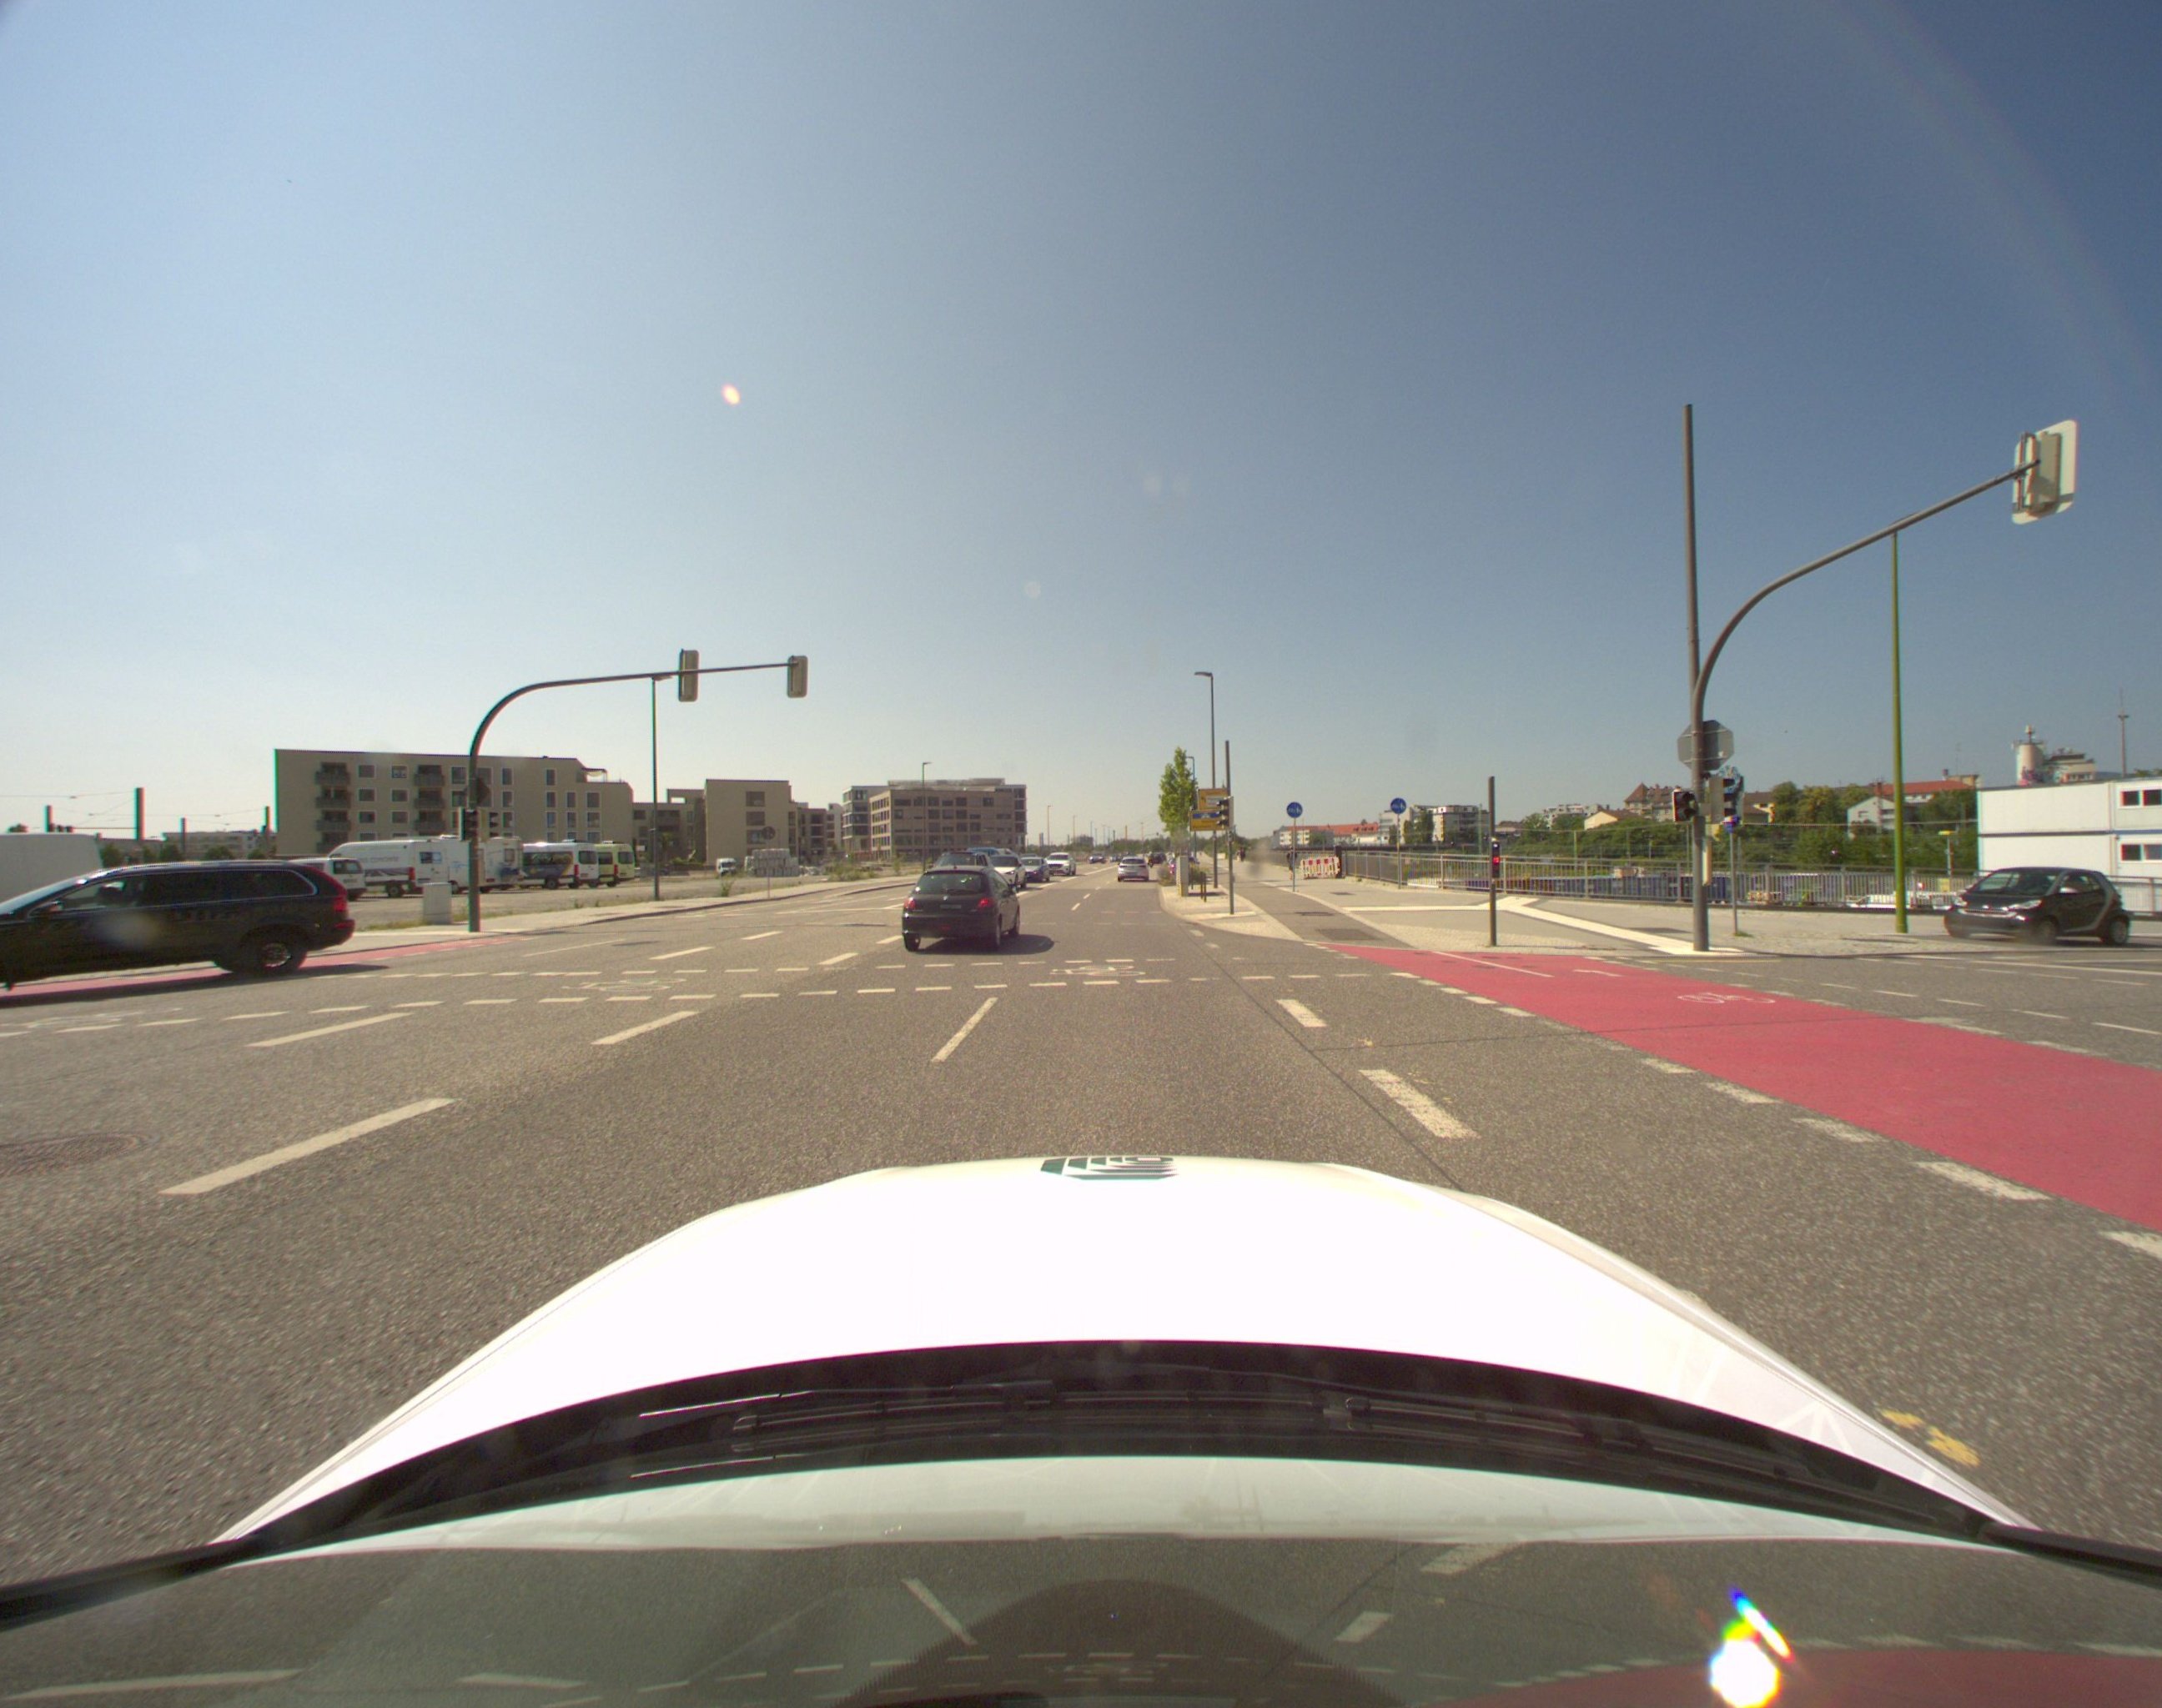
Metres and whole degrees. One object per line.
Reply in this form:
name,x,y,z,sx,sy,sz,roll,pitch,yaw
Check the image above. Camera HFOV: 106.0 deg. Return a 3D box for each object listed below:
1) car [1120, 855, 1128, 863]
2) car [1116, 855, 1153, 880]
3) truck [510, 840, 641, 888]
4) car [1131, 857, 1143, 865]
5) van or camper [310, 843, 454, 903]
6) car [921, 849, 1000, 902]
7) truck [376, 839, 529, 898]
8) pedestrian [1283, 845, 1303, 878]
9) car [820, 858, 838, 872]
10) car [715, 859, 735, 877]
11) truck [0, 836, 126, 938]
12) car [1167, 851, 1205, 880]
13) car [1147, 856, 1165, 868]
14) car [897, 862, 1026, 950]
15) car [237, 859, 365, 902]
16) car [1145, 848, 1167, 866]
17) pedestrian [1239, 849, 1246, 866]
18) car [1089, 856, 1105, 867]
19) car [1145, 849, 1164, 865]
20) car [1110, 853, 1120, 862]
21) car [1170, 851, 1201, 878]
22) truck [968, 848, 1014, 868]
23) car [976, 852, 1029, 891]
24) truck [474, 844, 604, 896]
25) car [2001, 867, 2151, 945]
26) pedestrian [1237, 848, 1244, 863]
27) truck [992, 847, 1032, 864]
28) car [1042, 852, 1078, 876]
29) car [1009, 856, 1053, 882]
car,8.827,1.137,168.163,1.573,1.563,3.676,0,-1,3
car,3.217,0.778,48.157,1.767,1.442,4.010,0,0,9
truck,-31.011,0.592,50.123,6.601,2.825,2.607,0,0,6
car,9.820,1.259,142.722,1.777,1.398,4.582,-1,0,8
van or camper,-32.299,0.845,37.718,4.874,2.661,2.264,0,0,6
car,-4.375,0.718,30.302,1.931,1.788,4.661,0,0,4
truck,-32.323,0.740,42.003,6.112,2.901,2.575,1,-2,7
pedestrian,10.606,0.381,40.715,0.747,1.609,0.951,-4,-1,6
car,-33.611,1.472,108.465,2.002,1.849,3.970,0,0,-22
car,-45.636,1.717,104.311,2.005,2.240,3.963,0,0,-29
truck,-29.195,0.892,21.123,2.163,2.655,5.934,-1,-1,-5
car,5.857,0.627,45.540,1.983,1.519,4.007,0,0,7
car,8.836,0.948,96.489,1.628,1.310,3.996,1,-1,-2
car,-2.080,0.868,15.177,1.612,1.416,3.731,0,0,4
car,-32.821,1.107,34.318,3.850,1.758,1.658,0,0,2
car,7.648,0.280,83.474,1.788,1.750,3.997,-1,0,-2
pedestrian,17.101,0.366,86.176,0.728,1.705,0.652,0,-2,7
car,2.172,1.040,111.985,1.884,1.415,3.604,0,-1,7
car,7.507,0.338,83.060,1.768,1.569,4.009,0,-1,8
car,6.078,0.598,145.360,1.786,1.416,4.002,0,-1,3
car,6.681,0.642,52.397,1.863,1.627,4.884,0,0,6
truck,-12.421,0.528,112.649,5.976,2.543,2.278,-2,0,5
car,-3.628,0.798,38.345,1.770,1.682,4.104,-1,0,4
truck,-31.073,0.909,46.821,5.803,2.825,2.575,1,-2,7
car,20.508,1.015,16.916,1.440,1.464,3.389,-1,-2,42
pedestrian,18.549,0.167,94.819,0.776,1.705,0.743,0,-1,7
truck,-10.132,0.270,119.835,5.540,2.363,2.278,-2,0,5
car,-1.470,0.709,59.131,1.903,1.650,4.739,-2,-1,7
car,-2.832,0.846,47.021,1.776,1.421,4.290,0,0,7
